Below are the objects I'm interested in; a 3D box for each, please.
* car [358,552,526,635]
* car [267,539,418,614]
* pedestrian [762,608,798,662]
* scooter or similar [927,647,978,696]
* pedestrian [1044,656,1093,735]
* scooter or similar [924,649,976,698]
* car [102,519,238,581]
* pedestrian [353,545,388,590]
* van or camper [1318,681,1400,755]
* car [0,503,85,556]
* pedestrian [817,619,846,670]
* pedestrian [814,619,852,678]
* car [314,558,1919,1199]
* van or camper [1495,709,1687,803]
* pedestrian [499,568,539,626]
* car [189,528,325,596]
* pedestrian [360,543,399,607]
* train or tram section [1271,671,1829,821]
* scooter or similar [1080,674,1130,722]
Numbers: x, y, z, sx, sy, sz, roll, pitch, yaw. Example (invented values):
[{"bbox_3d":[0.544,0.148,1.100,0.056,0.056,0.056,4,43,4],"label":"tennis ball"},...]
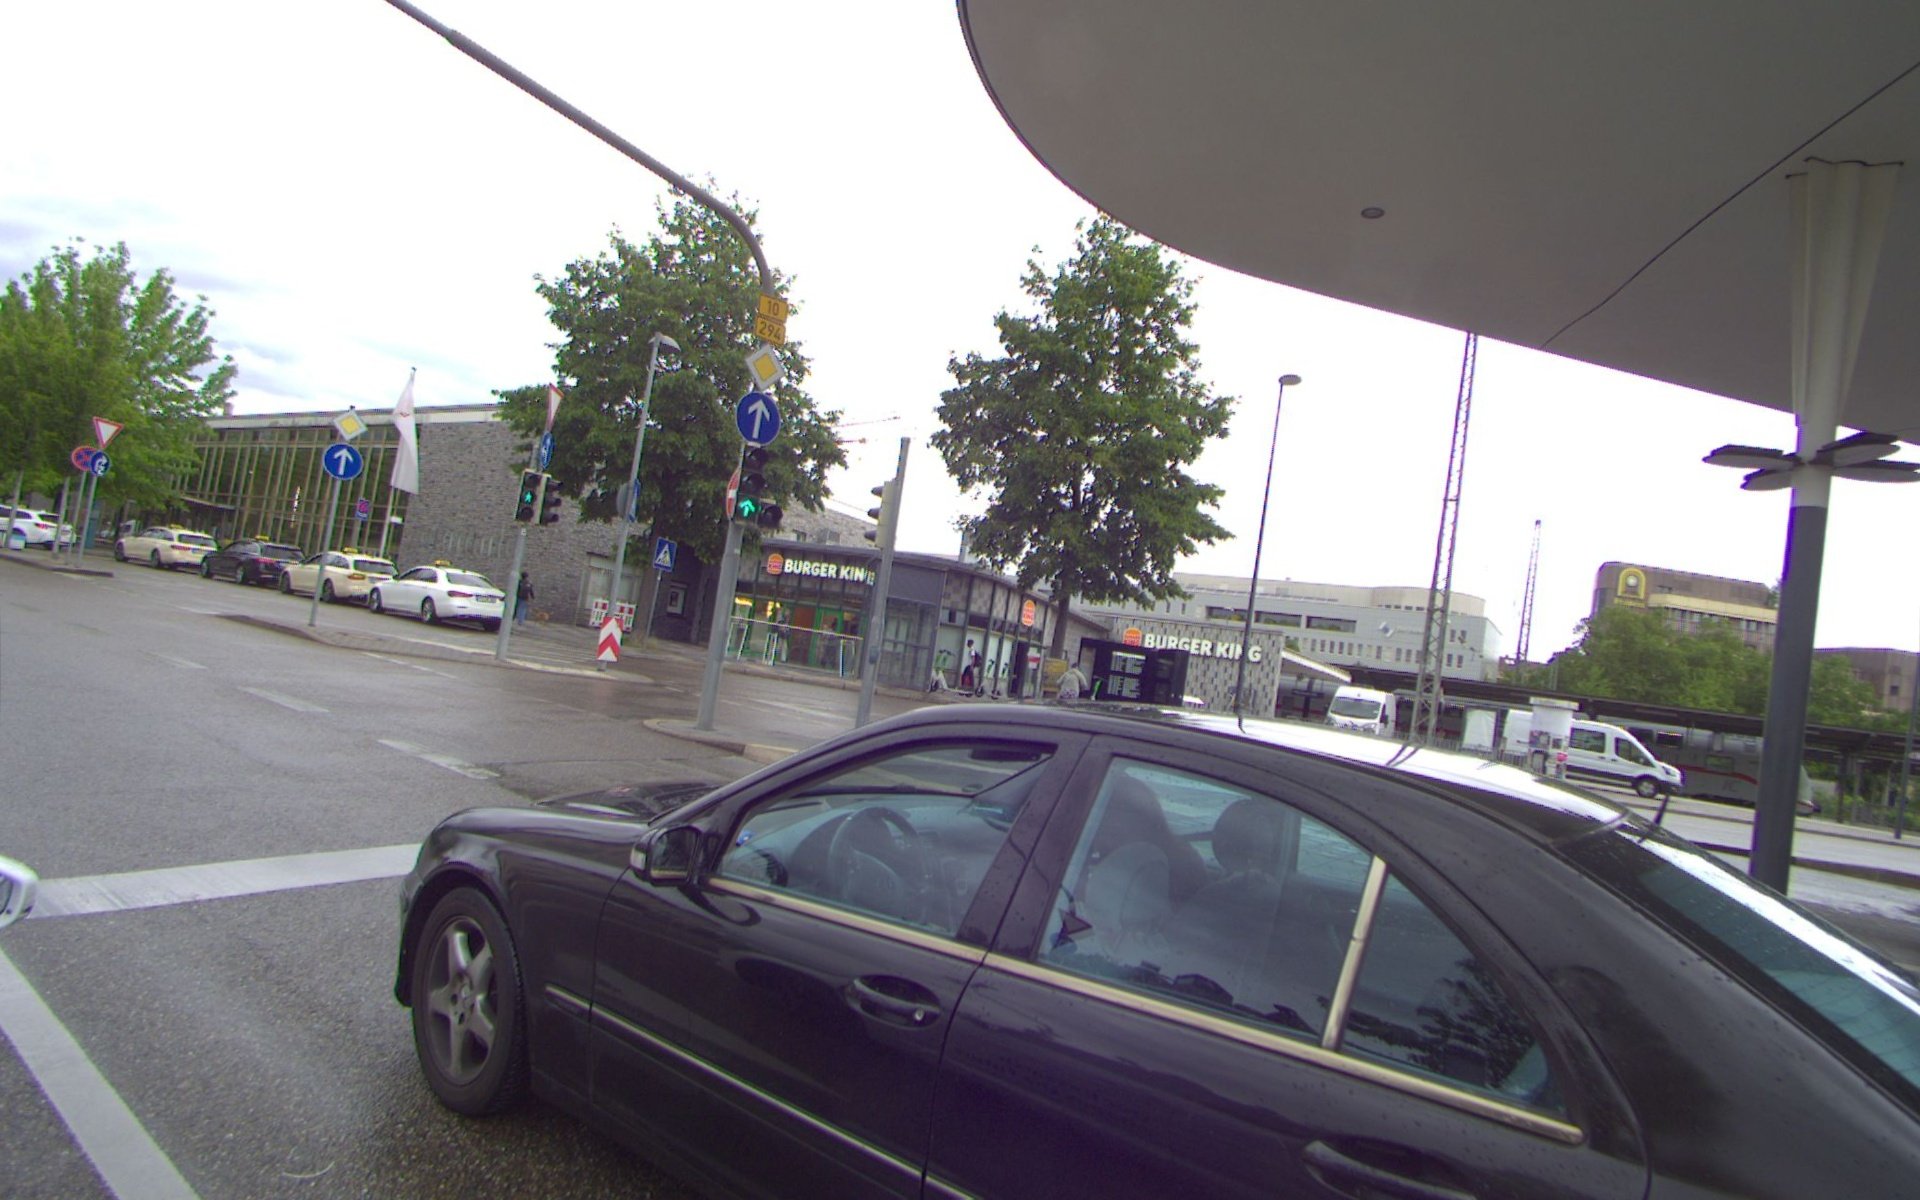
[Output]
[{"bbox_3d":[-13.744,-0.197,26.589,4.827,1.618,1.881,6,-2,36],"label":"car"},{"bbox_3d":[-18.413,-0.723,29.921,4.882,1.618,1.995,6,-2,36],"label":"car"},{"bbox_3d":[-6.041,1.166,33.769,0.718,1.687,0.788,8,-1,-44],"label":"pedestrian"},{"bbox_3d":[-0.218,1.995,28.169,1.280,1.196,0.334,7,-1,2],"label":"scooter or similar"},{"bbox_3d":[2.286,2.005,21.236,0.824,1.547,0.638,7,-1,6],"label":"pedestrian"},{"bbox_3d":[-0.260,2.013,27.568,1.280,1.196,0.334,7,-1,2],"label":"scooter or similar"},{"bbox_3d":[-28.878,-1.851,36.738,4.872,1.618,1.999,7,-1,28],"label":"car"},{"bbox_3d":[-22.414,-1.231,38.255,0.699,1.598,0.770,6,-1,32],"label":"pedestrian"},{"bbox_3d":[15.970,4.657,40.059,2.128,2.461,5.860,6,-2,29],"label":"van or camper"},{"bbox_3d":[-36.094,-2.830,37.727,4.692,1.563,1.764,8,-2,-4],"label":"car"},{"bbox_3d":[-4.569,1.562,35.638,0.712,1.687,0.795,7,-1,-16],"label":"pedestrian"},{"bbox_3d":[-3.925,1.491,31.125,0.762,1.689,0.646,8,3,14],"label":"pedestrian"},{"bbox_3d":[0.367,0.874,2.495,4.382,1.482,1.696,6,-2,35],"label":"car"},{"bbox_3d":[23.495,5.721,37.625,5.773,2.462,1.995,6,-2,36],"label":"van or camper"},{"bbox_3d":[-13.353,-0.093,30.481,0.784,1.645,0.722,7,-1,-8],"label":"pedestrian"},{"bbox_3d":[-23.409,-1.285,33.438,4.880,1.617,1.997,7,-3,35],"label":"car"},{"bbox_3d":[-21.214,-0.907,36.741,0.712,2.190,0.795,6,-1,37],"label":"pedestrian"},{"bbox_3d":[34.489,8.405,62.473,28.854,4.230,4.594,6,-2,36],"label":"train or tram section"},{"bbox_3d":[4.205,2.845,29.265,1.280,1.196,0.334,7,-1,2],"label":"scooter or similar"}]
